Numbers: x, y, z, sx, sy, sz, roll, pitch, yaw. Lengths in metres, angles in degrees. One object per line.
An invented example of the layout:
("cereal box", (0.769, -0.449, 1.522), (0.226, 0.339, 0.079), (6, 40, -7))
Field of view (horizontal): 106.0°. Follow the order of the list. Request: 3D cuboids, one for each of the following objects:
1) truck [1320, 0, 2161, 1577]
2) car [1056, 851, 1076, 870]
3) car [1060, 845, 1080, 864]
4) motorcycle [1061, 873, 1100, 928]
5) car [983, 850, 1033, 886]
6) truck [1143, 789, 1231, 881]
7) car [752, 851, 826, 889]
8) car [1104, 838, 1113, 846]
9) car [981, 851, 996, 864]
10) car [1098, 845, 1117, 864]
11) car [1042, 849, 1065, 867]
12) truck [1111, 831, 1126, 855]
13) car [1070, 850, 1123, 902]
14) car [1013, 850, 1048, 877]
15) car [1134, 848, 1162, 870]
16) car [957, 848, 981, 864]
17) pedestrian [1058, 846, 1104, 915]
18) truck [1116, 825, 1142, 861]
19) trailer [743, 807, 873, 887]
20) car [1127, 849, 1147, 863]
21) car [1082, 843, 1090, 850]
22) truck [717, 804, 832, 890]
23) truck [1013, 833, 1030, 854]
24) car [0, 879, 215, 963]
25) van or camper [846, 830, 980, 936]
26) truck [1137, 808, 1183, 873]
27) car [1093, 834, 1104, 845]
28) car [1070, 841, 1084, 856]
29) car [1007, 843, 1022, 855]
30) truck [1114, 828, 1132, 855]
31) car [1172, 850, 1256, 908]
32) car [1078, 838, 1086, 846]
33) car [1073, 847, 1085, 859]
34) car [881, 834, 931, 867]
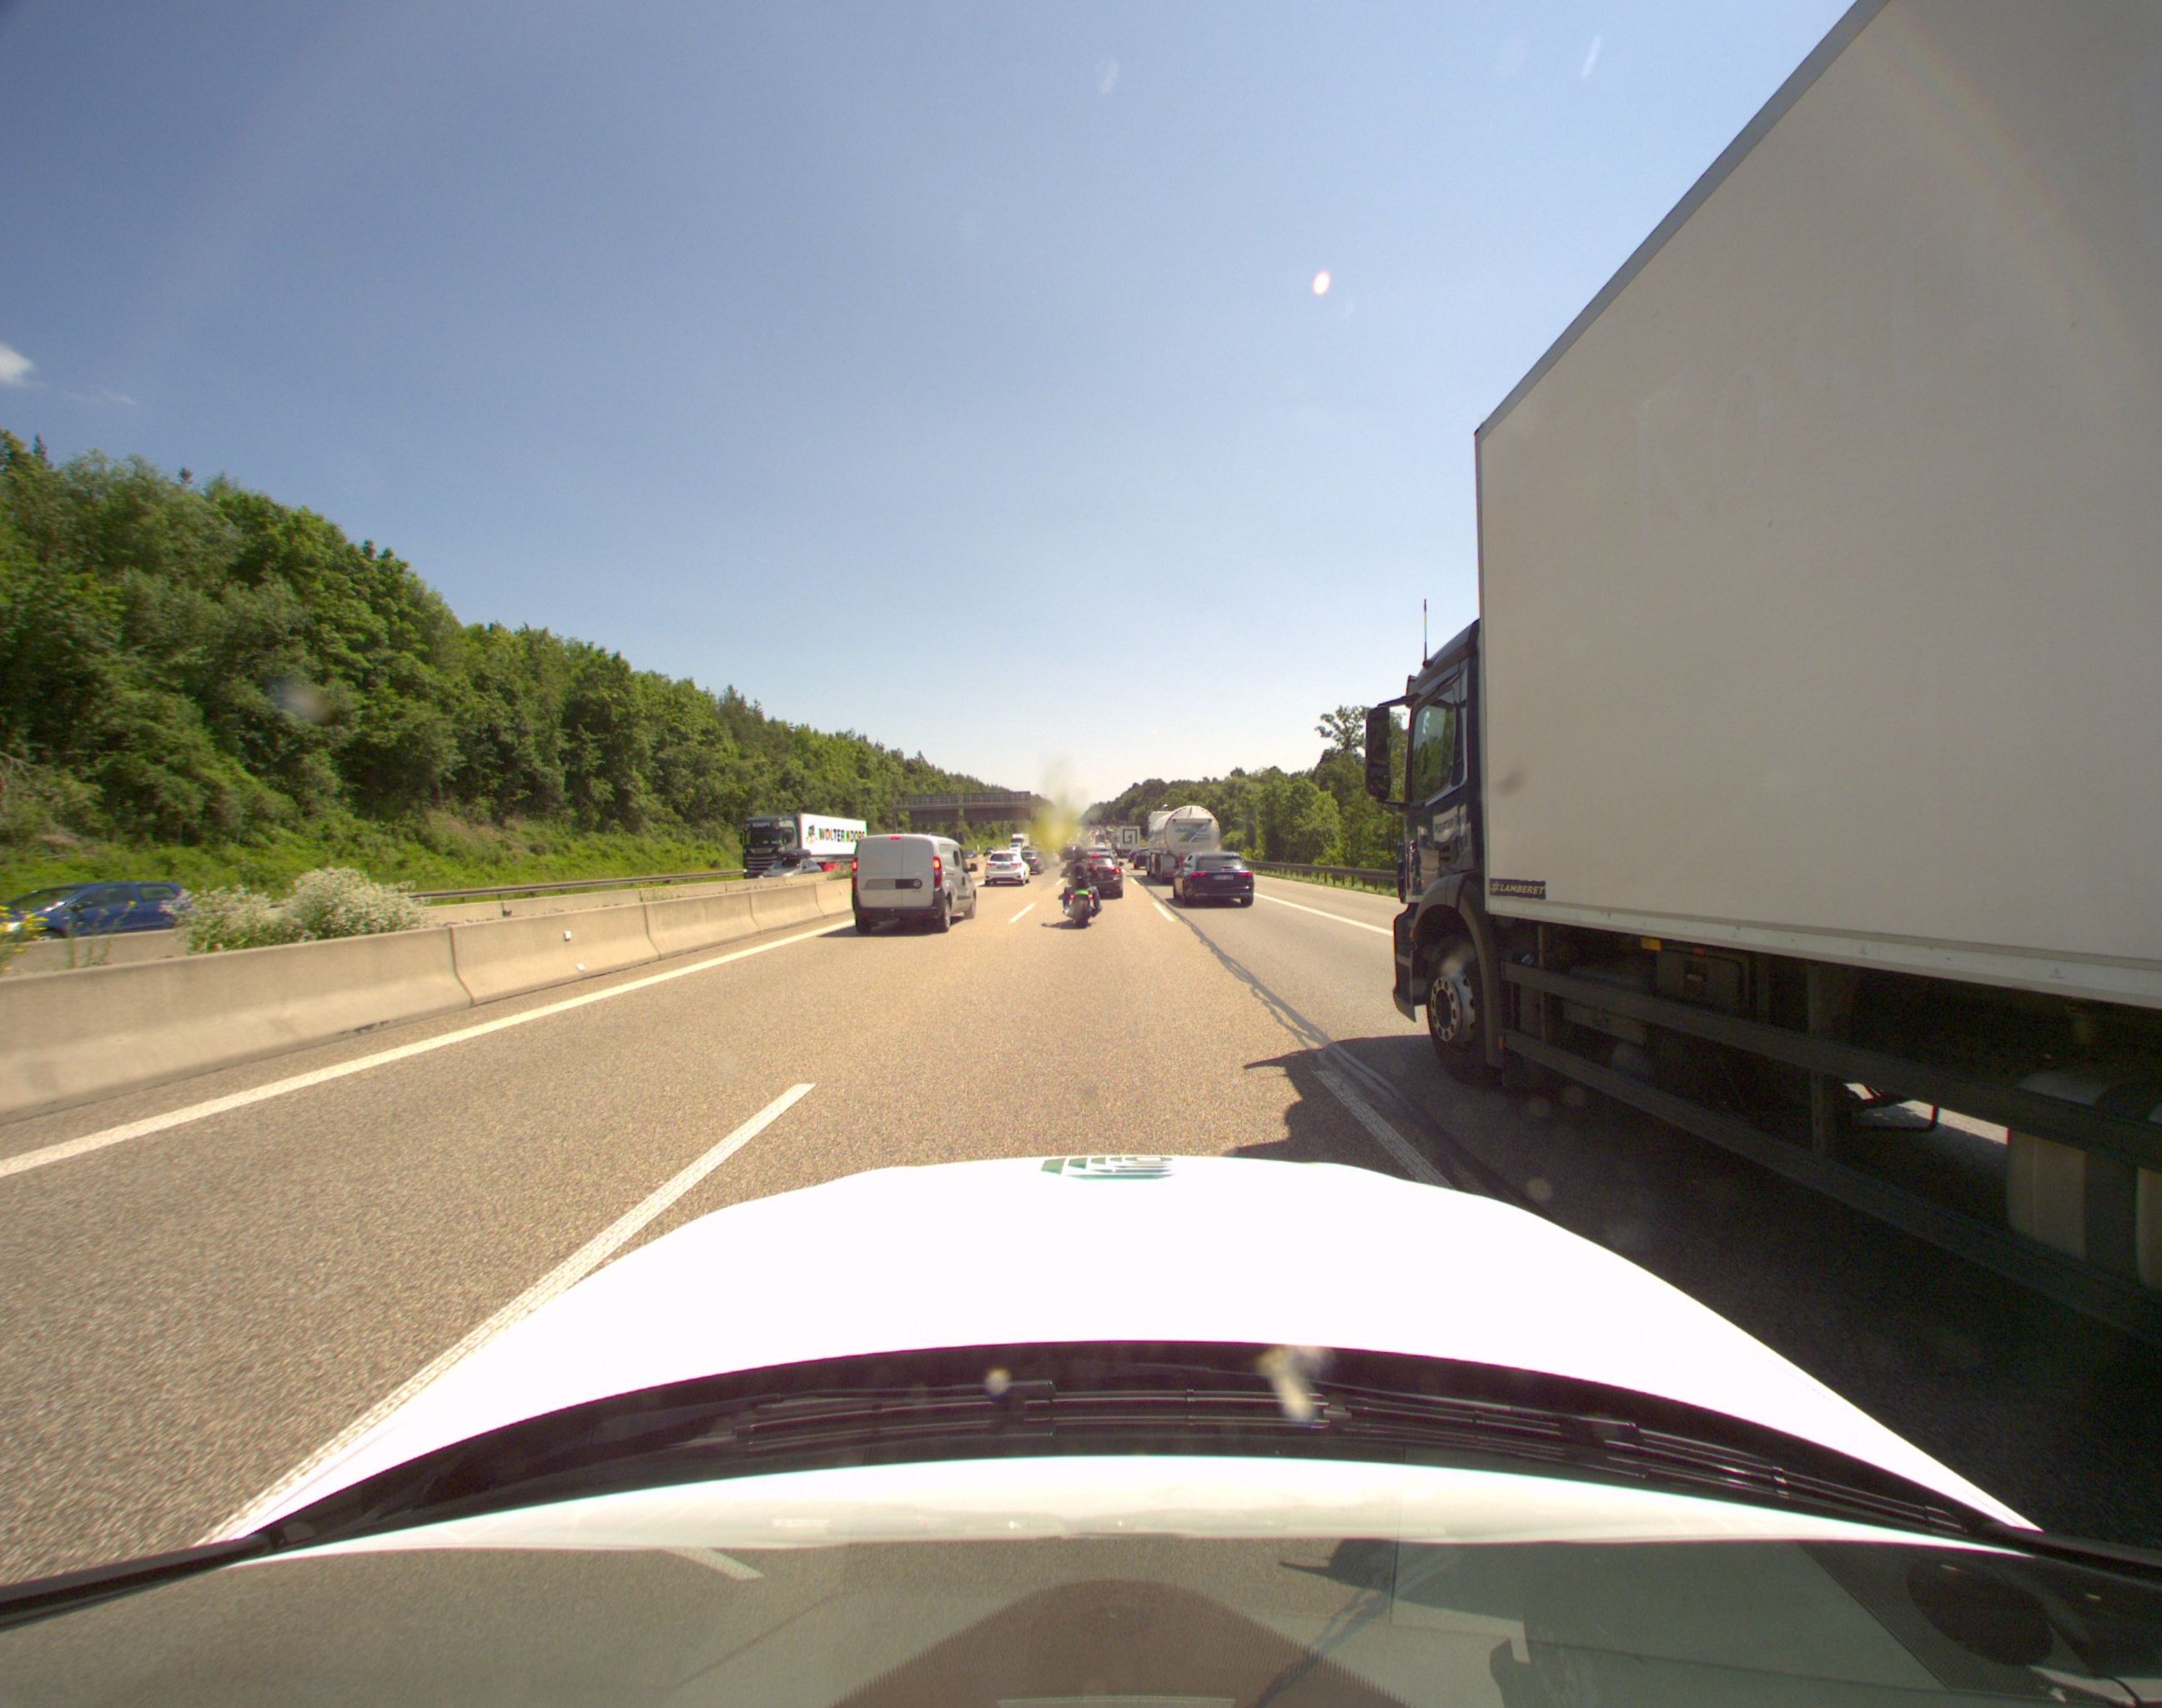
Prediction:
("truck", (3.423, -0.549, 2.147), (2.678, 3.876, 9.782), (-4, 0, 1))
("car", (-1.758, 0.791, 95.426), (1.986, 2.013, 4.002), (-4, -1, 2))
("car", (-1.173, 0.042, 86.988), (1.873, 1.859, 4.002), (-1, 0, 2))
("motorcycle", (0.015, 0.936, 16.942), (0.688, 1.015, 2.123), (-1, 0, 3))
("car", (-3.164, 0.573, 35.902), (1.693, 1.478, 4.001), (-2, 0, 1))
("truck", (4.786, -0.738, 38.746), (2.977, 3.671, 9.290), (-4, -1, 1))
("car", (-13.827, 0.726, 38.809), (1.680, 1.607, 4.515), (-4, -1, 1))
("car", (7.288, -3.195, 215.944), (1.986, 2.013, 4.001), (-4, -1, 2))
("car", (-15.696, 0.621, 138.131), (1.820, 2.013, 3.881), (-4, -1, 2))
("car", (2.940, 0.052, 91.433), (1.986, 2.013, 4.001), (-4, -1, 2))
("car", (-2.364, 0.344, 70.606), (1.693, 1.478, 4.001), (-2, 0, 1))
("truck", (8.226, -2.342, 177.920), (3.022, 5.139, 9.986), (0, 0, 1))
("car", (0.508, 0.686, 27.079), (1.527, 1.510, 4.000), (-4, 0, 1))
("car", (-2.980, 0.553, 48.839), (1.693, 1.478, 4.001), (-2, 0, 1))
("car", (4.883, 0.344, 59.935), (1.780, 1.555, 3.804), (-2, 0, 1))
("car", (-12.316, 0.200, 89.701), (1.873, 1.593, 4.001), (-2, 0, 1))
("pedestrian", (0.013, 0.537, 17.180), (0.846, 1.362, 0.962), (-4, 0, 2))
("truck", (6.213, -1.428, 106.865), (3.022, 4.542, 9.986), (0, 0, 1))
("trailer", (-17.895, -0.336, 54.923), (3.711, 4.528, 13.334), (-4, -1, 1))
("car", (5.711, 0.158, 83.166), (1.780, 1.374, 3.804), (-2, 0, 1))
("car", (1.463, -2.131, 238.135), (1.986, 2.013, 4.002), (-1, 0, 2))
("truck", (-18.063, -0.353, 48.660), (3.712, 4.528, 7.326), (-4, -1, 1))
("truck", (-13.805, -2.433, 188.233), (2.755, 4.740, 10.475), (-2, 0, 1))
("car", (-21.565, 1.380, 17.716), (1.404, 1.508, 3.709), (-1, 0, 2))
("van or camper", (-3.326, 0.554, 16.924), (1.789, 1.892, 4.160), (-1, -1, 1))
("truck", (4.568, -0.727, 47.643), (1.988, 3.522, 4.749), (-4, -1, -1))
("car", (4.269, -3.519, 196.750), (2.495, 2.587, 5.018), (-2, 0, 1))
("car", (-0.585, -0.792, 123.920), (1.922, 2.013, 4.002), (-4, -1, 2))
("car", (-11.732, -0.866, 144.212), (1.873, 2.013, 4.470), (-5, -1, 2))
("truck", (7.536, -2.200, 146.453), (3.022, 4.542, 9.986), (0, 0, 1))
("car", (3.679, 0.632, 23.124), (1.822, 1.470, 4.001), (-1, 0, 1))
("car", (0.340, -3.134, 216.213), (1.986, 2.013, 4.001), (-2, 0, 1))
("car", (-0.293, -0.231, 149.793), (1.986, 2.013, 4.001), (-4, -1, 2))
("car", (-13.337, -0.264, 62.469), (1.986, 2.377, 7.367), (-2, 0, 1))
